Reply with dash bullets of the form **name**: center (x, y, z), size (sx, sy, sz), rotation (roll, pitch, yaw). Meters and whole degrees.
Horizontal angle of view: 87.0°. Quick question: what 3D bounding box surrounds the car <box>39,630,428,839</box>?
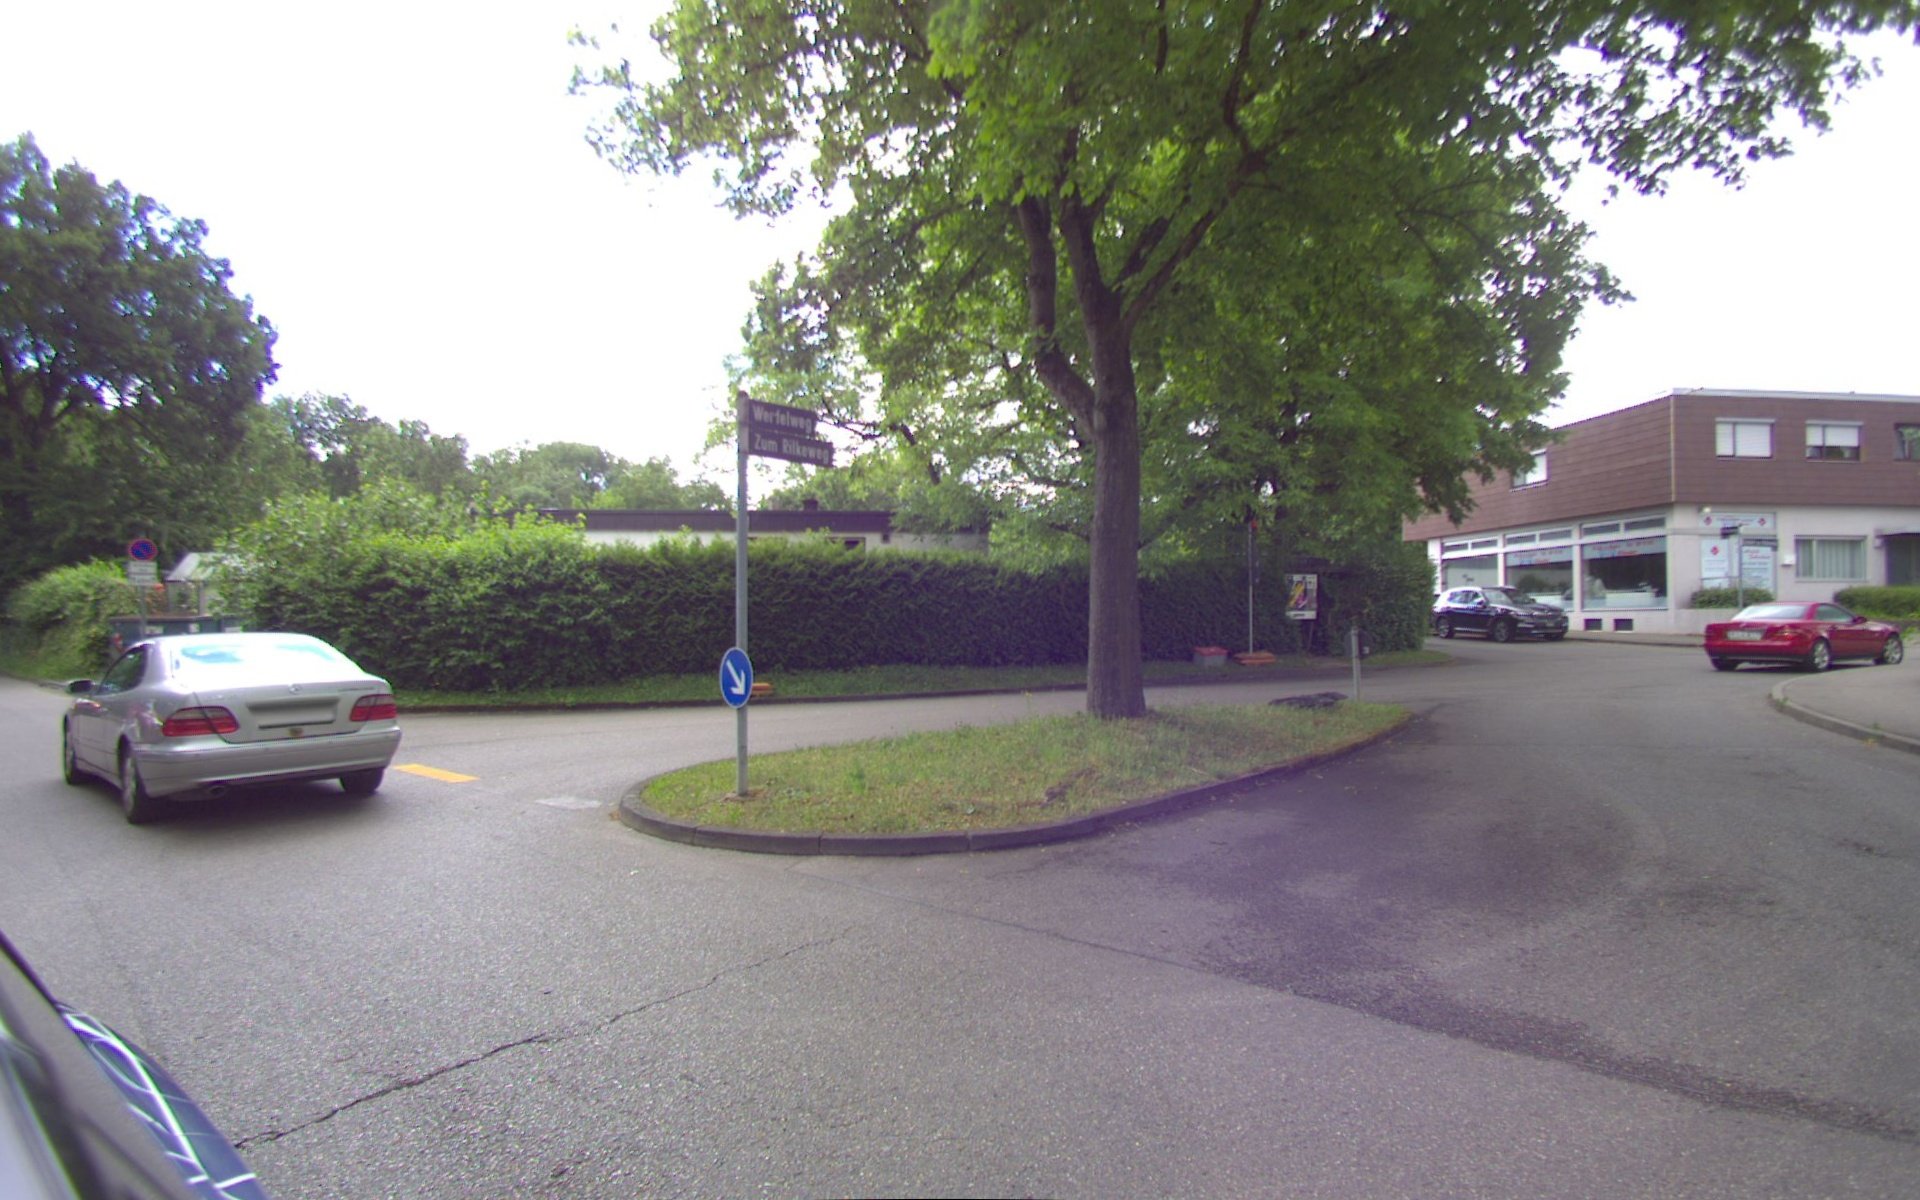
- **car**: center (-6.341, 0.939, 8.636), size (4.293, 1.316, 1.762), rotation (-2, -1, 41)

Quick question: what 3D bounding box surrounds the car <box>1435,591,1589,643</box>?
- **car**: center (16.754, 0.519, 30.994), size (1.969, 1.386, 4.285), rotation (-3, -1, -6)

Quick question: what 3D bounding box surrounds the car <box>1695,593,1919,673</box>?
- **car**: center (15.880, 0.570, 18.847), size (3.994, 1.346, 1.762), rotation (-1, -1, -24)

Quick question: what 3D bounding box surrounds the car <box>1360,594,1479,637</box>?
- **car**: center (16.342, 0.551, 36.249), size (1.943, 1.386, 4.007), rotation (-2, -1, -8)
